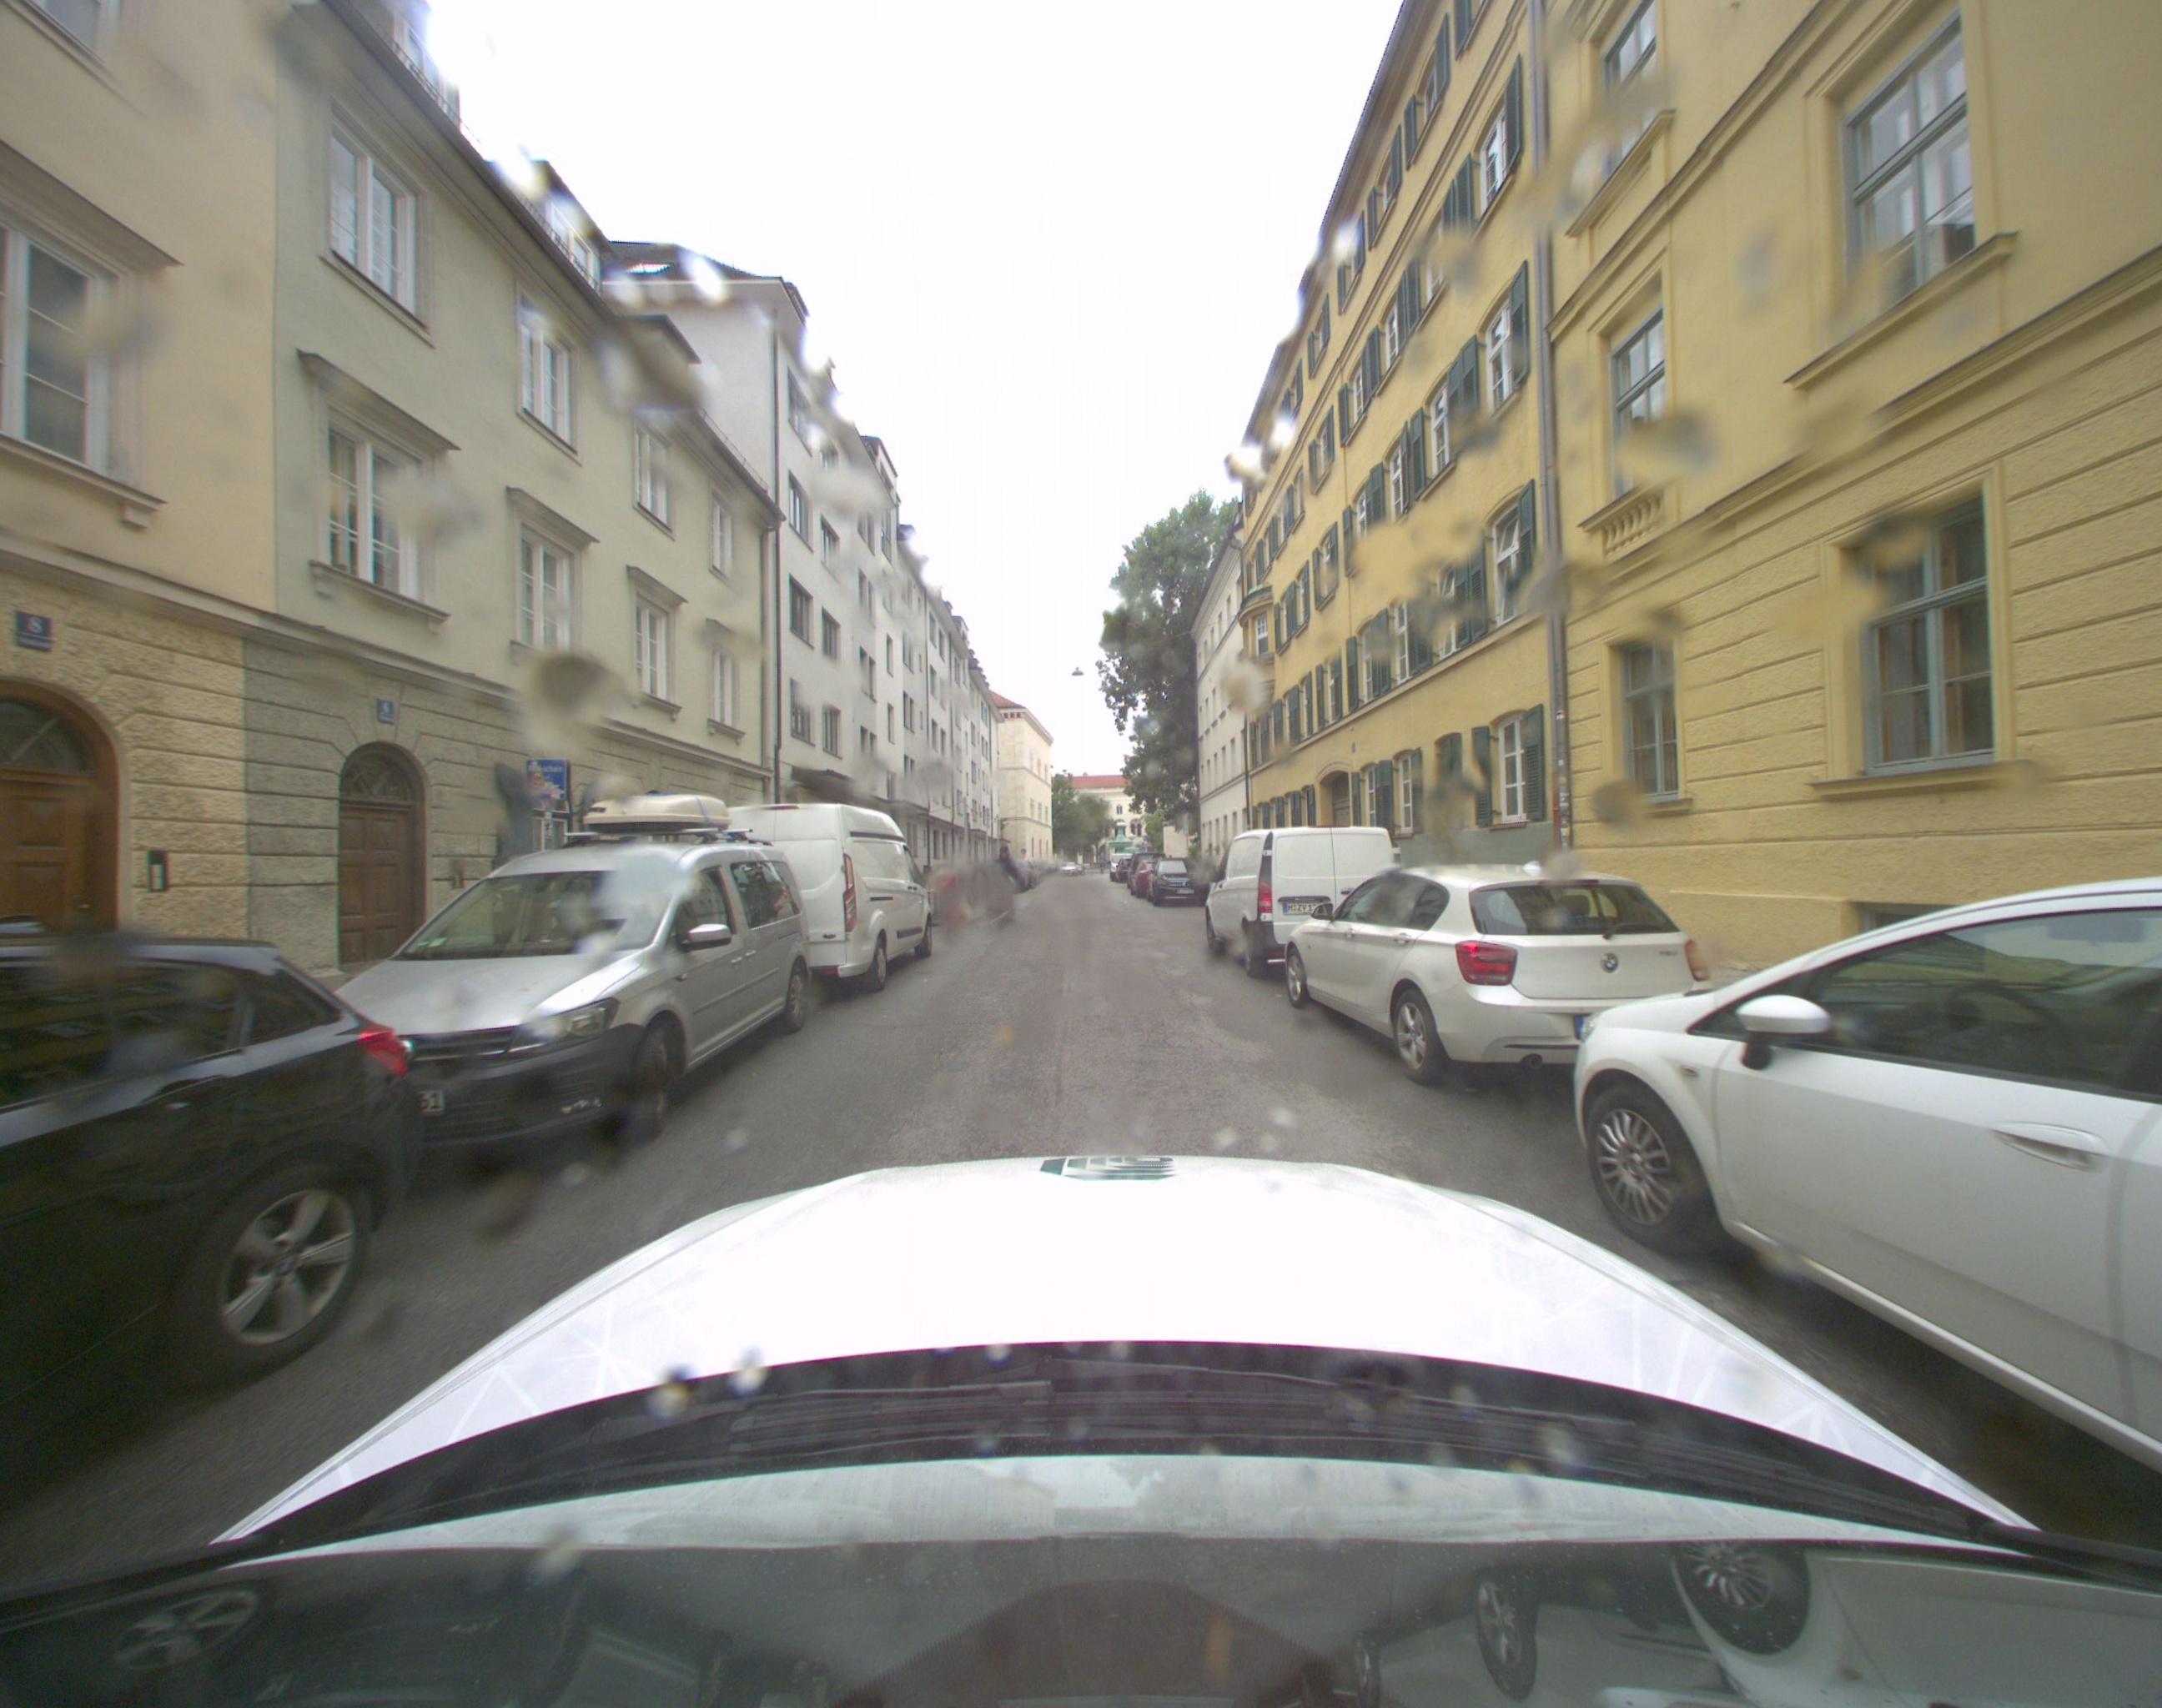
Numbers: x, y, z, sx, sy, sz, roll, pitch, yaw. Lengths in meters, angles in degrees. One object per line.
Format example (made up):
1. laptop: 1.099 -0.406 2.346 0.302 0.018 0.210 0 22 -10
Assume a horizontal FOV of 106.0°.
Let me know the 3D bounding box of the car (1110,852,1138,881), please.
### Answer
1. car: 3.065 0.890 58.884 1.875 1.924 4.877 -1 -1 2

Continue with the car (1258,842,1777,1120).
1. car: 2.993 0.731 6.922 1.811 1.510 4.584 -2 0 -2

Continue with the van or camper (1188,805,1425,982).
1. van or camper: 2.989 0.472 12.155 1.988 2.014 5.230 -2 0 -1

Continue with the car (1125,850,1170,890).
1. car: 3.105 0.777 38.786 1.840 1.776 4.201 1 -1 1

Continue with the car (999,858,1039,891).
1. car: -3.439 1.107 45.776 1.866 1.688 4.519 -3 0 -1

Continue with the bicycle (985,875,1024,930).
1. bicycle: -1.752 1.092 18.955 0.730 1.151 1.998 -1 -1 -1

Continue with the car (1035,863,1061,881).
1. car: -2.925 1.580 72.980 1.742 1.453 4.022 -3 0 6

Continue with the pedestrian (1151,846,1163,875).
1. pedestrian: 5.892 0.516 63.147 0.791 2.197 0.813 -1 -1 0

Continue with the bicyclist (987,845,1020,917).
1. bicyclist: -1.799 0.617 18.964 0.684 1.627 0.852 -1 -1 -1

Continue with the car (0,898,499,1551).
1. car: -3.366 0.884 1.317 1.852 1.401 4.266 -1 -1 -2

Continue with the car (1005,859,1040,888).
1. car: -3.624 1.199 51.268 1.866 1.658 4.589 -3 0 -1

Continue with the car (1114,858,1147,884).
1. car: 3.151 1.107 52.830 1.803 1.600 4.212 -1 -1 -2

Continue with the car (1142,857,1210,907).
1. car: 3.028 0.866 26.625 1.740 1.464 3.999 -2 0 0

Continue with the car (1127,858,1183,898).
1. car: 2.822 0.928 32.045 1.708 1.424 4.455 -1 -1 -1

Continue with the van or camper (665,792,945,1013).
1. van or camper: -3.439 0.532 11.532 1.987 2.311 5.477 -2 0 0

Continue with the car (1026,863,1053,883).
1. car: -3.433 1.562 68.222 1.743 1.453 4.019 -3 0 3

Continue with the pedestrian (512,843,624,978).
1. pedestrian: -6.895 0.731 10.997 0.802 1.712 1.022 -2 0 1

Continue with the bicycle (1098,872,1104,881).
1. bicycle: 2.561 2.863 103.952 0.646 1.197 1.951 -2 -1 3

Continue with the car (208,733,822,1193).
1. car: -3.470 0.526 6.272 1.855 2.201 4.552 -1 -1 -5

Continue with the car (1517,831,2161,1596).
1. car: 2.922 0.693 2.004 1.618 1.510 3.760 -2 0 -1

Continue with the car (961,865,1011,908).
1. car: -3.497 1.143 30.138 1.637 1.354 4.049 -3 0 -6

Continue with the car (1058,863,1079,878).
1. car: -1.361 1.799 88.235 1.770 1.535 4.216 -3 -2 4

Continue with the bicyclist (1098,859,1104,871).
1. bicyclist: 2.518 1.413 103.992 0.654 1.551 0.888 -2 -1 3

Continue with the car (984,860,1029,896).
1. car: -3.563 1.103 39.559 1.768 1.539 4.157 -3 0 -1
